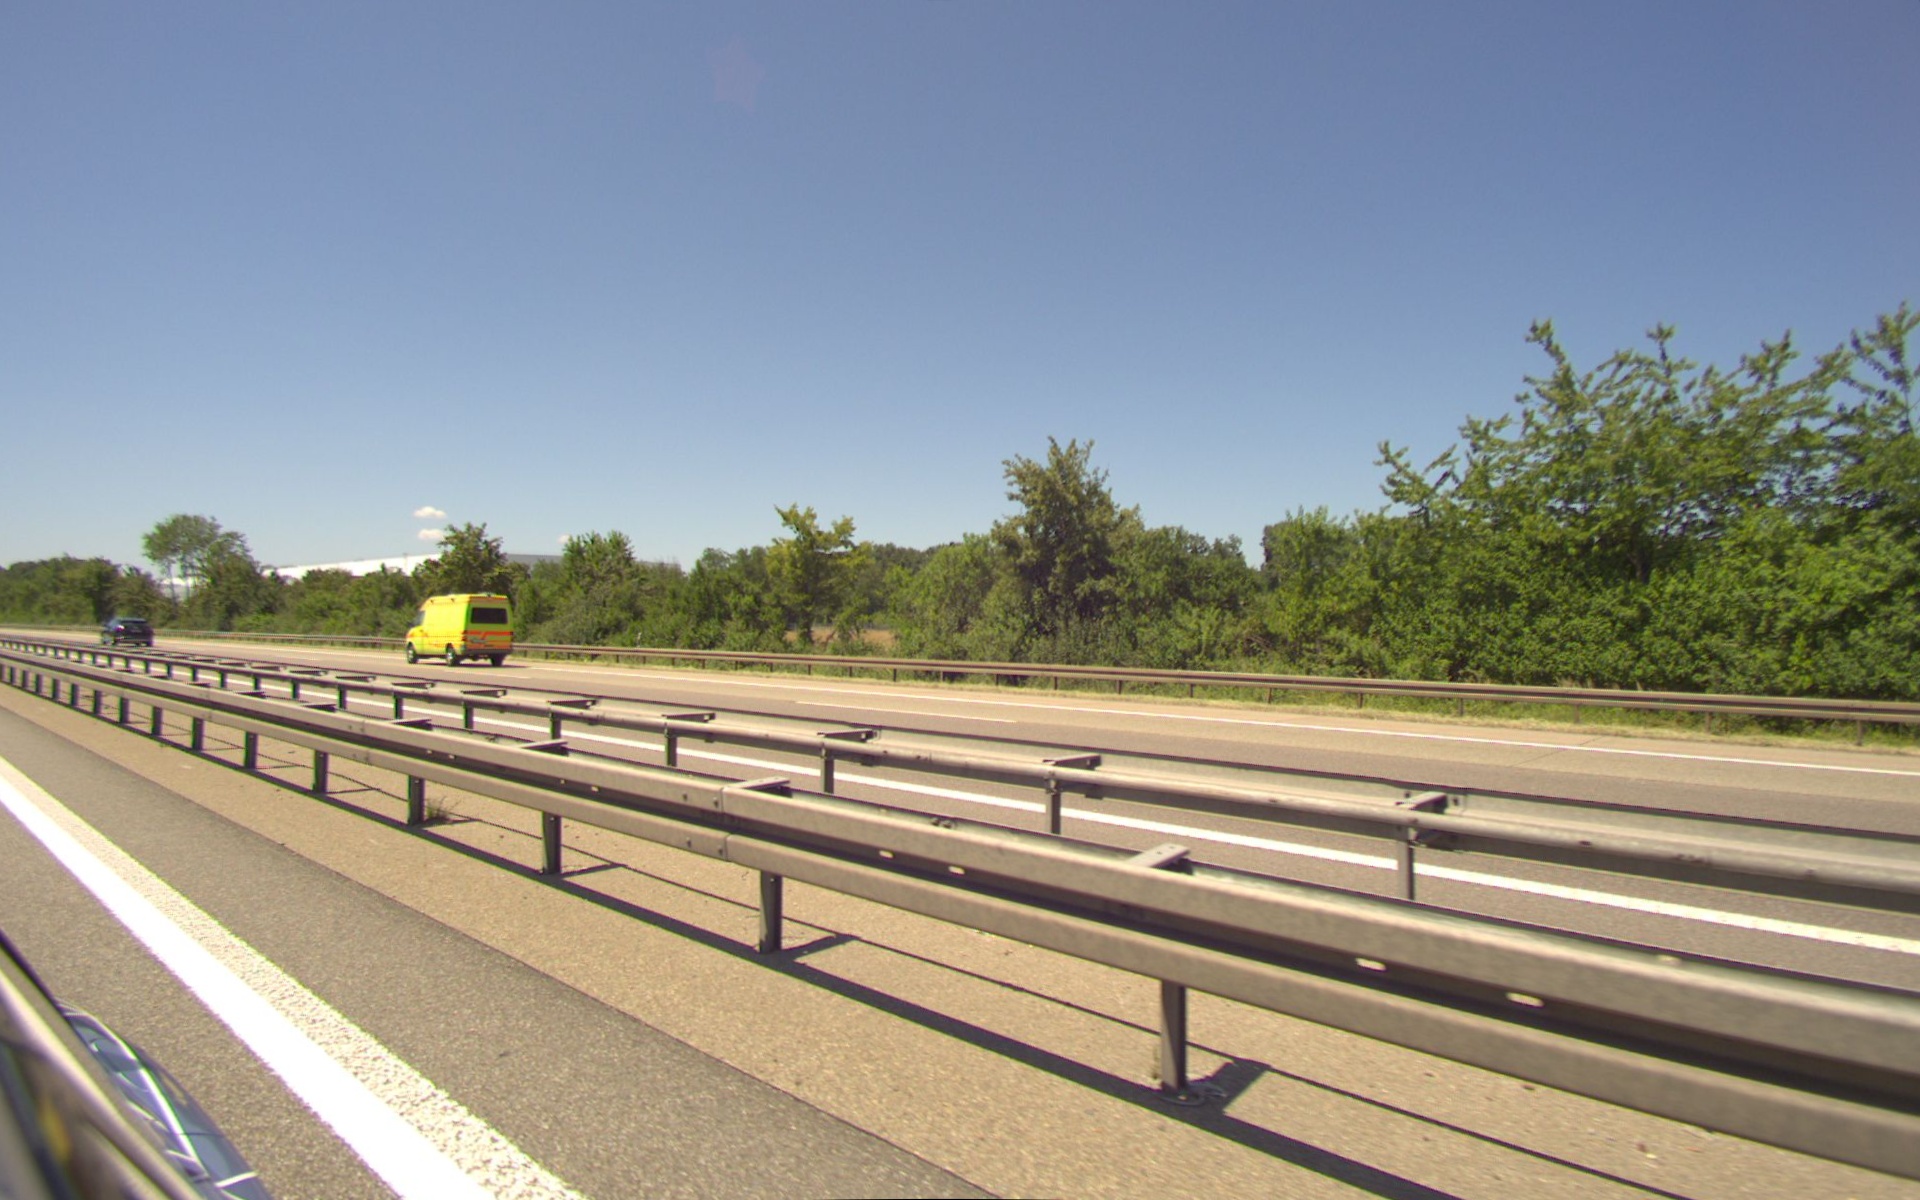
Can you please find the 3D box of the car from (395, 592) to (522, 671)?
[{"bbox_3d":[-19.135,1.197,38.477,5.796,2.800,2.143,-1,-3,41],"label":"car"}]

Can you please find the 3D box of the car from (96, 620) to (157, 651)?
[{"bbox_3d":[-47.100,1.989,57.187,4.623,1.703,1.849,-1,-3,41],"label":"car"}]
